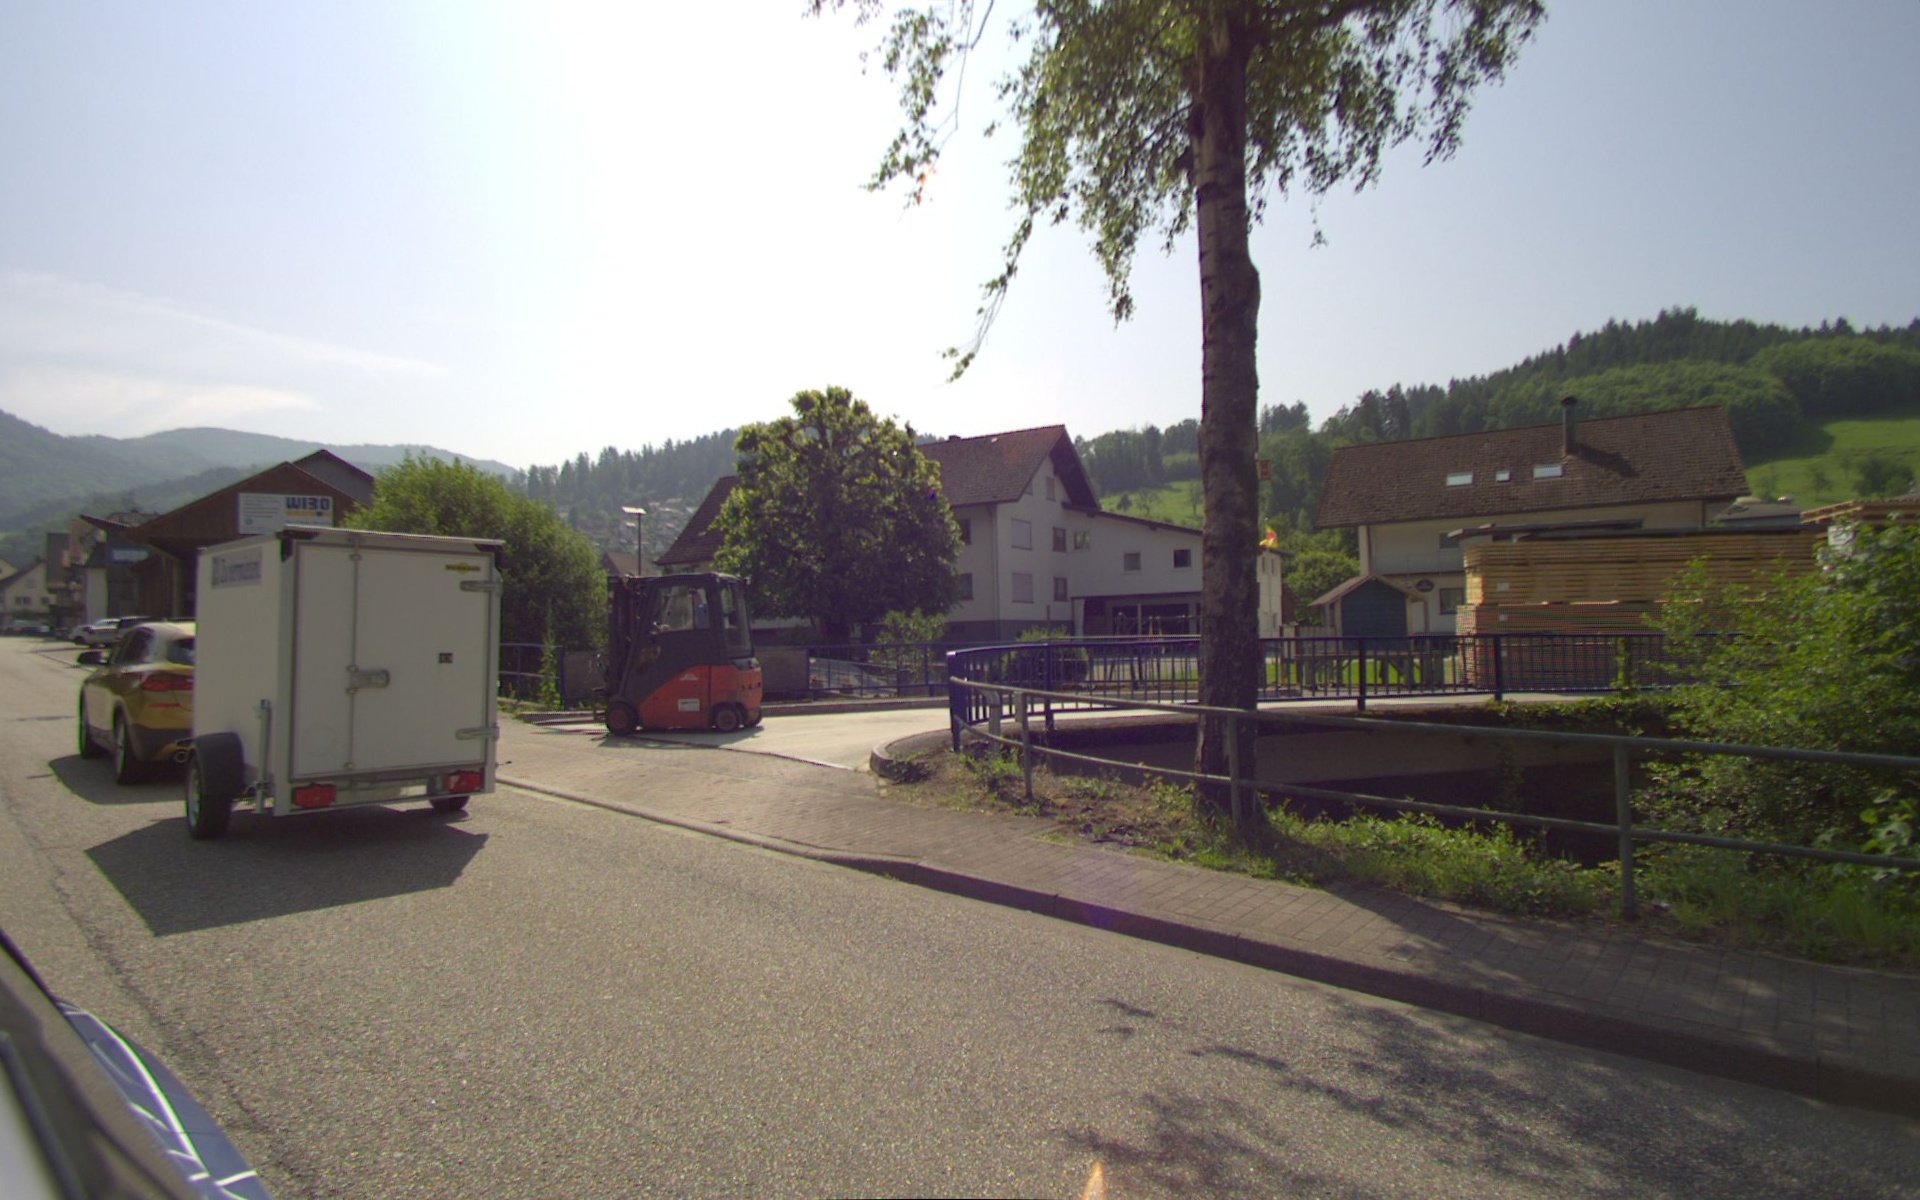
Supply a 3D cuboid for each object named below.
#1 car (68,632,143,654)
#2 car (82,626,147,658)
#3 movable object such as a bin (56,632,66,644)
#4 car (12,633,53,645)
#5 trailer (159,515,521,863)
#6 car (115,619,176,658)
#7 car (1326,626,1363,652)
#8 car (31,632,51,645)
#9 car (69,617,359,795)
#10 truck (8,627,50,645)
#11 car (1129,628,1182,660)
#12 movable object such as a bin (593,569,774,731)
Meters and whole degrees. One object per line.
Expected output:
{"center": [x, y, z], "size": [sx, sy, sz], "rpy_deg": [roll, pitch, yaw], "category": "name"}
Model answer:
{"center": [-60.376, 3.041, 71.576], "size": [3.607, 1.396, 1.716], "rpy_deg": [5, -4, -27], "category": "car"}
{"center": [-44.002, 2.147, 52.768], "size": [1.704, 1.465, 4.819], "rpy_deg": [0, 0, -28], "category": "car"}
{"center": [-83.699, 3.557, 94.188], "size": [0.668, 1.075, 0.622], "rpy_deg": [1, -2, -44], "category": "movable object such as a bin"}
{"center": [-125.976, 5.306, 137.399], "size": [4.047, 1.514, 1.755], "rpy_deg": [1, -3, -44], "category": "car"}
{"center": [-4.960, 0.591, 7.902], "size": [3.670, 2.093, 1.451], "rpy_deg": [-2, -3, 43], "category": "trailer"}
{"center": [-37.315, 1.742, 46.440], "size": [1.559, 1.582, 4.035], "rpy_deg": [-3, 0, -31], "category": "car"}
{"center": [22.849, 2.303, 60.105], "size": [1.611, 1.477, 3.282], "rpy_deg": [-1, -1, 28], "category": "car"}
{"center": [-119.659, 5.038, 131.725], "size": [1.749, 1.565, 4.288], "rpy_deg": [-1, -1, -45], "category": "car"}
{"center": [-7.994, 0.967, 10.690], "size": [4.150, 1.512, 1.793], "rpy_deg": [-2, -3, 44], "category": "car"}
{"center": [-129.562, 5.014, 140.867], "size": [2.000, 2.283, 4.121], "rpy_deg": [-2, -1, 42], "category": "truck"}
{"center": [11.175, 2.461, 57.686], "size": [1.758, 1.689, 3.762], "rpy_deg": [-1, -1, 32], "category": "car"}
{"center": [-3.719, 0.665, 13.764], "size": [2.101, 2.088, 1.133], "rpy_deg": [0, -2, 8], "category": "movable object such as a bin"}
